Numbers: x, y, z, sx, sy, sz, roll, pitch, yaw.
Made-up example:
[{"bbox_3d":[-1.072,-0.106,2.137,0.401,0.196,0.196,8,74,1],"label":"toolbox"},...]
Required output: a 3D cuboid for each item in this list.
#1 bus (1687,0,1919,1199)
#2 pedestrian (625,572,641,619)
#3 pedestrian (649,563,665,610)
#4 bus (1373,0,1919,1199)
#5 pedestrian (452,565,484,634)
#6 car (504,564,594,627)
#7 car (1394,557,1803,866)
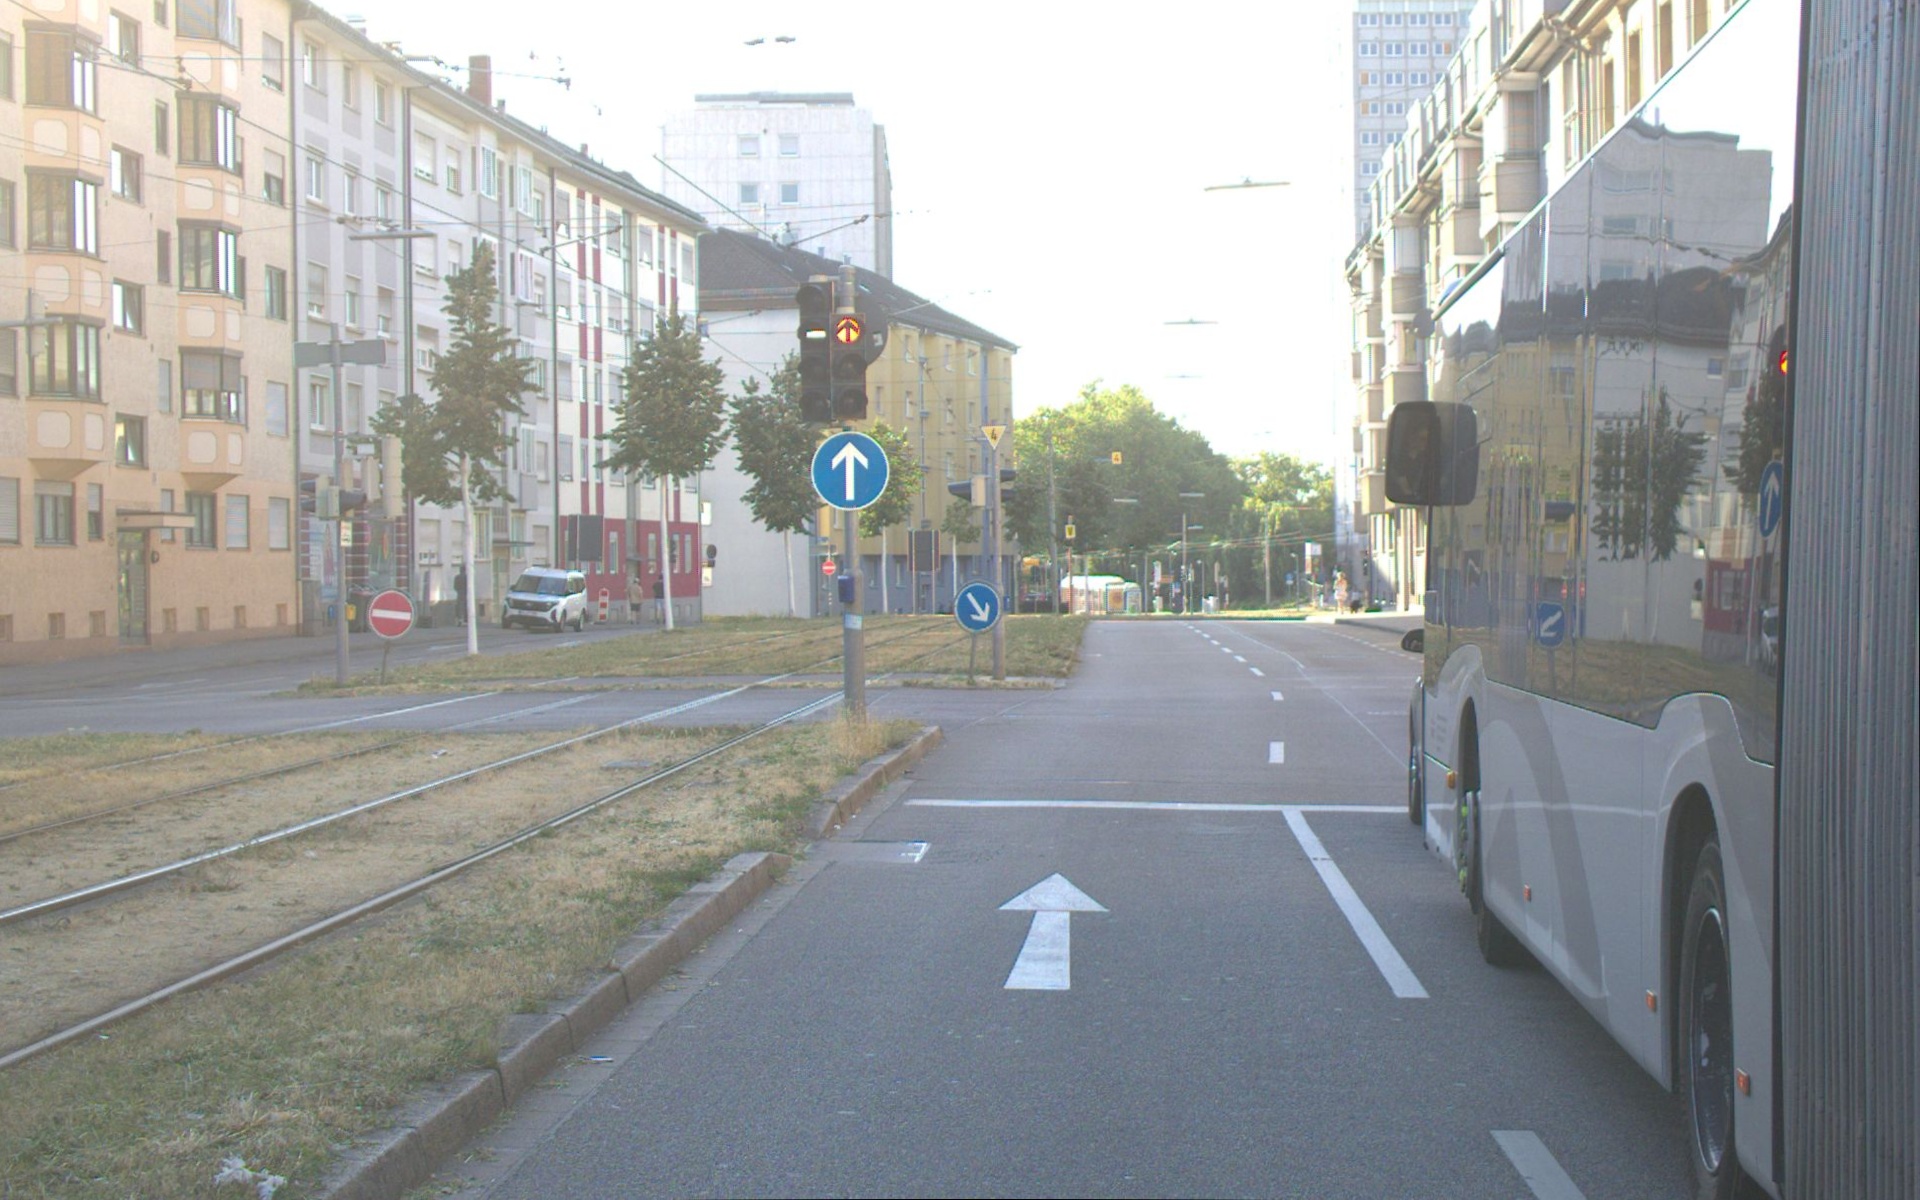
[{"bbox_3d":[2.655,0.004,2.558,2.739,3.045,8.853,1,1,3],"label":"bus"},{"bbox_3d":[-11.604,-0.176,122.084,0.495,1.652,0.408,-1,0,4],"label":"pedestrian"},{"bbox_3d":[-10.789,-0.487,122.368,0.495,1.652,0.408,-1,0,4],"label":"pedestrian"},{"bbox_3d":[3.101,-0.076,11.541,2.739,3.045,9.130,1,1,3],"label":"bus"},{"bbox_3d":[-14.386,-0.012,100.543,0.786,2.007,0.891,-1,0,0],"label":"pedestrian"},{"bbox_3d":[-12.075,-0.121,101.235,1.812,1.791,4.244,1,0,4],"label":"car"},{"bbox_3d":[3.561,0.558,19.834,1.770,1.570,4.085,-1,0,3],"label":"car"}]
